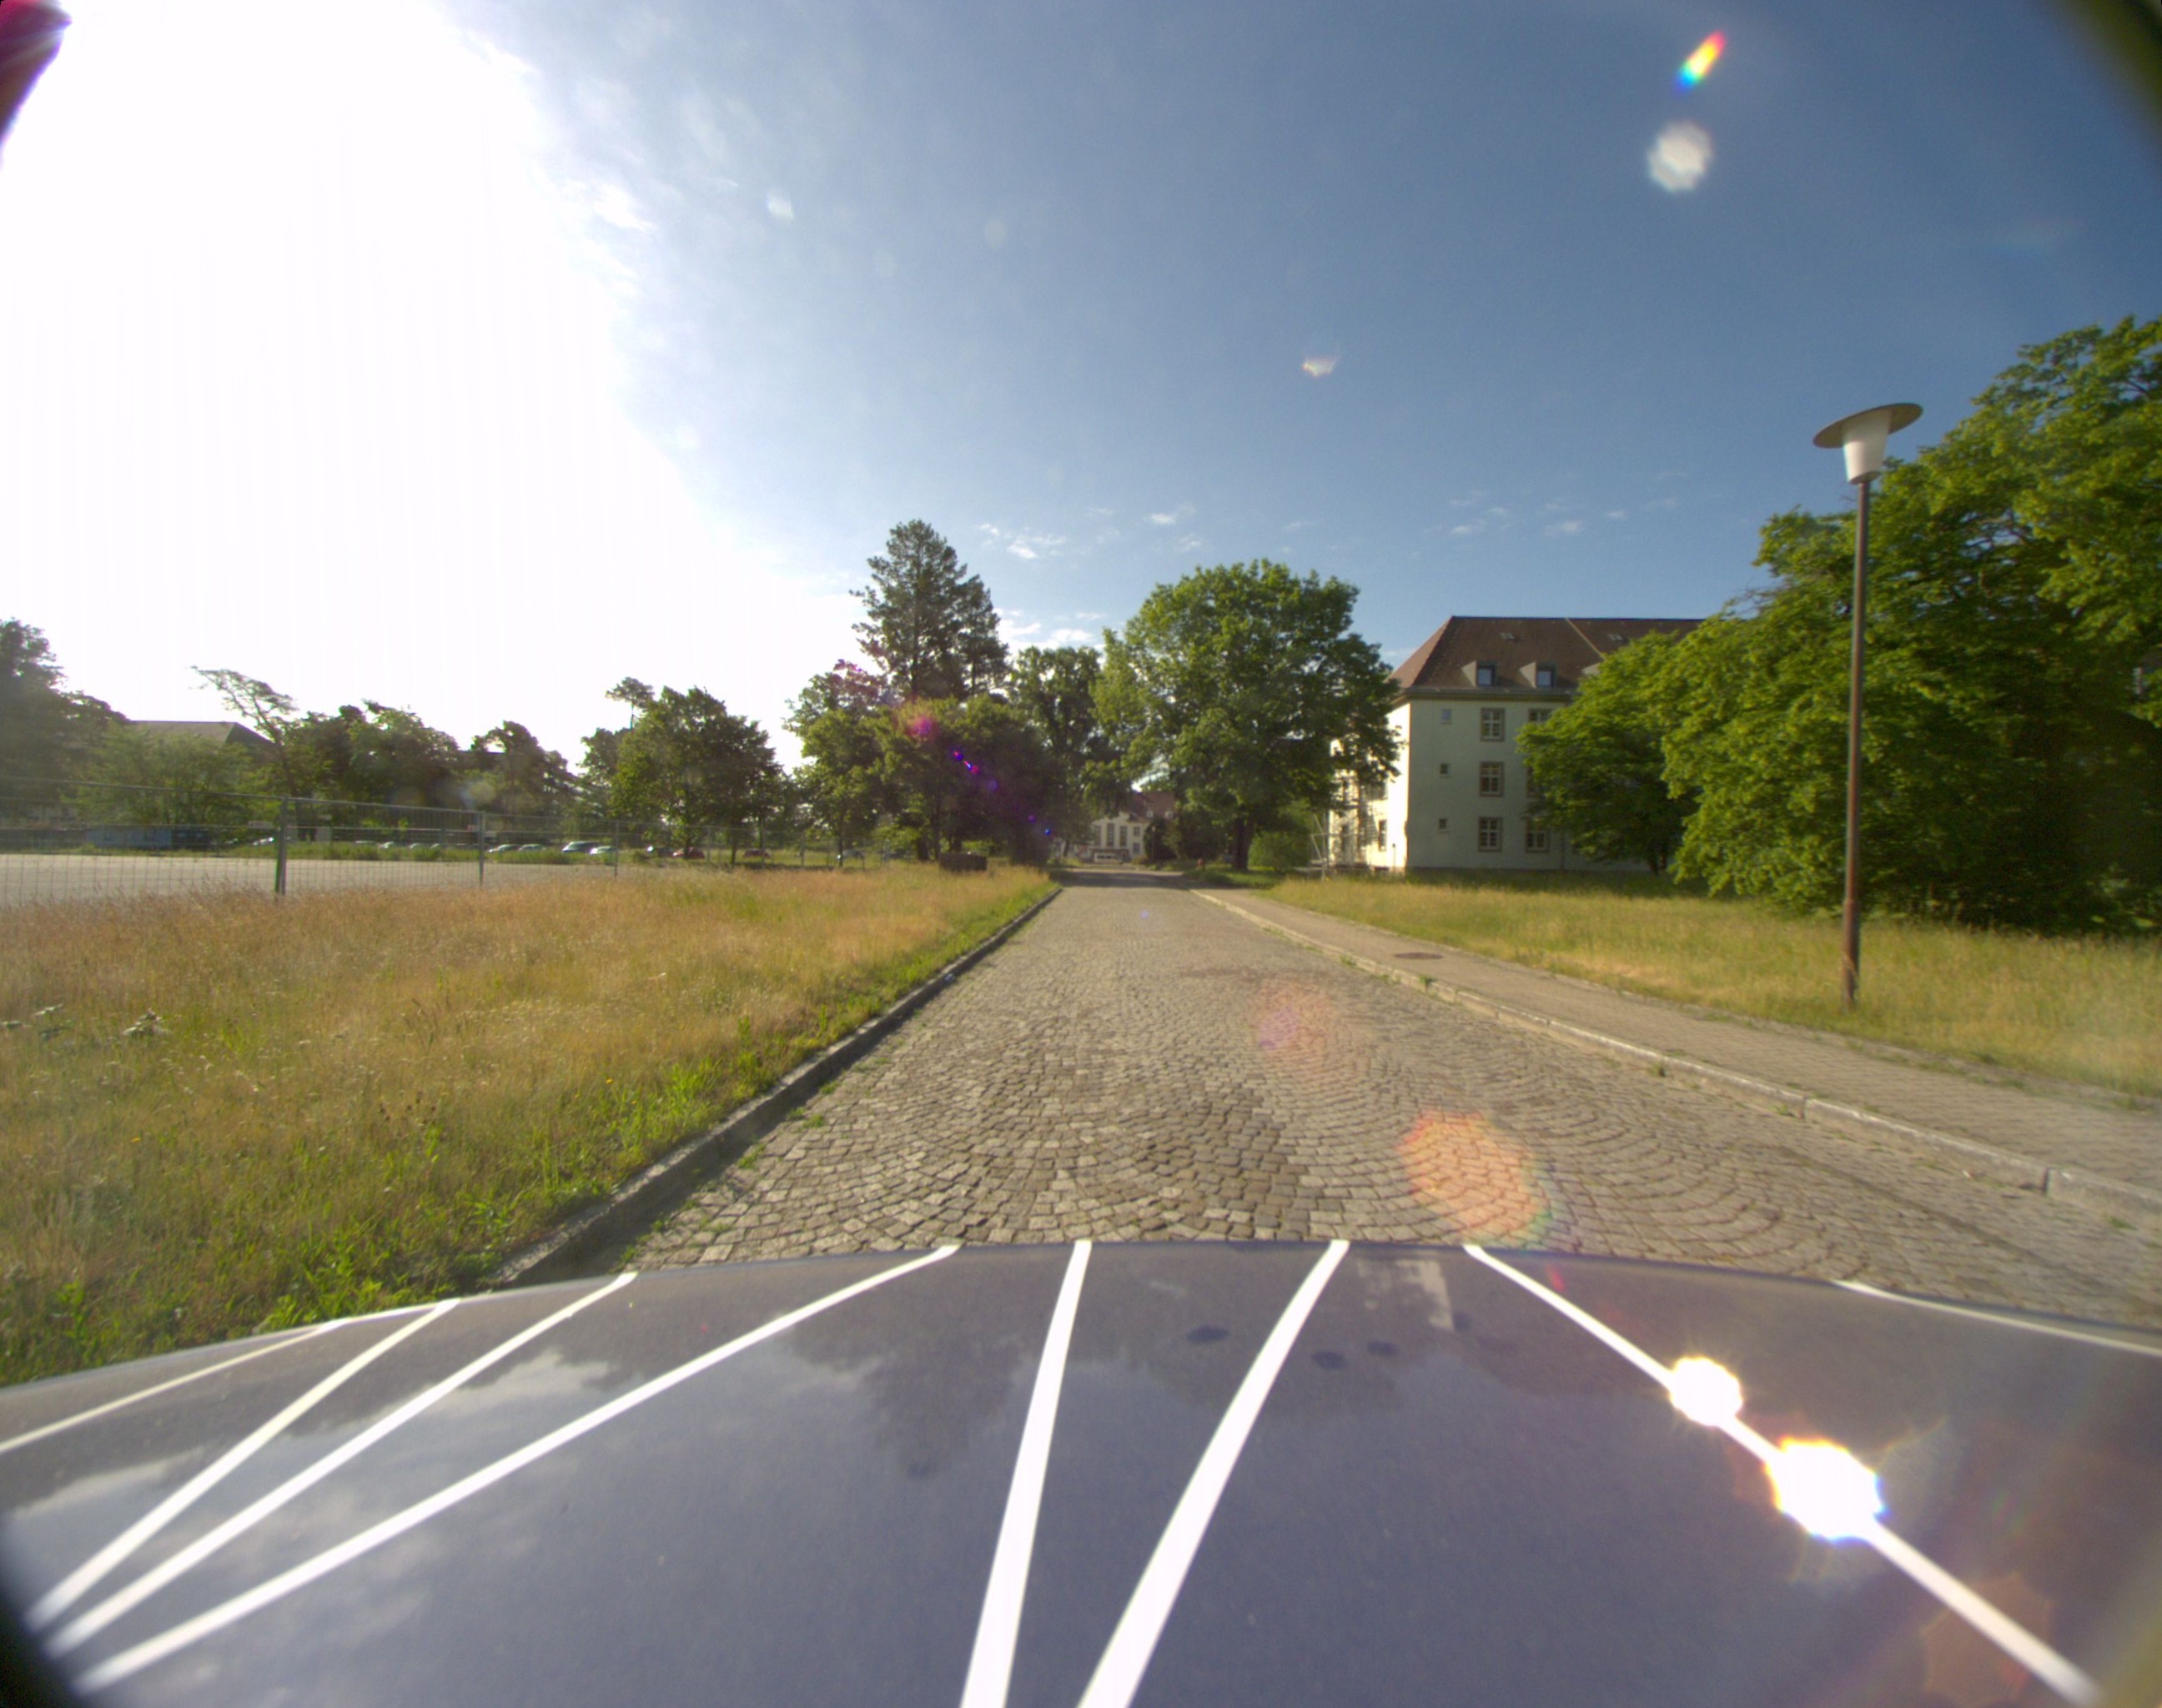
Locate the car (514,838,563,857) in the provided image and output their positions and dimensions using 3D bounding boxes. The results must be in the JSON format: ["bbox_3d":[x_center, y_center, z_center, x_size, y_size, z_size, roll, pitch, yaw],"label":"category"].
[{"bbox_3d":[-59.048,-0.714,82.793,1.997,2.002,4.002,-2,1,9],"label":"car"}]

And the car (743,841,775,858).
[{"bbox_3d":[-34.712,-0.467,81.927,1.999,1.805,3.998,1,0,-5],"label":"car"}]

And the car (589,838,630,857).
[{"bbox_3d":[-51.254,-0.725,82.646,1.999,1.936,3.999,1,1,0],"label":"car"}]

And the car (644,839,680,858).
[{"bbox_3d":[-45.136,-0.605,82.002,2.000,2.002,3.997,1,0,-7],"label":"car"}]

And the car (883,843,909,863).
[{"bbox_3d":[-19.710,-0.109,80.998,1.999,2.002,3.998,1,0,-5],"label":"car"}]

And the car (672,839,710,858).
[{"bbox_3d":[-42.173,-0.567,82.232,1.998,2.002,4.000,1,0,0],"label":"car"}]

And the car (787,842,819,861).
[{"bbox_3d":[-30.062,-0.289,82.174,1.999,2.002,3.999,1,0,-1],"label":"car"}]

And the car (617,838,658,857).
[{"bbox_3d":[-48.813,-0.726,83.715,1.998,2.002,4.000,1,0,2],"label":"car"}]

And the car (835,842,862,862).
[{"bbox_3d":[-24.877,-0.239,81.385,1.999,2.002,3.998,1,0,-5],"label":"car"}]

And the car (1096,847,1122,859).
[{"bbox_3d":[5.287,-0.140,142.717,4.869,2.083,2.000,1,1,2],"label":"car"}]
